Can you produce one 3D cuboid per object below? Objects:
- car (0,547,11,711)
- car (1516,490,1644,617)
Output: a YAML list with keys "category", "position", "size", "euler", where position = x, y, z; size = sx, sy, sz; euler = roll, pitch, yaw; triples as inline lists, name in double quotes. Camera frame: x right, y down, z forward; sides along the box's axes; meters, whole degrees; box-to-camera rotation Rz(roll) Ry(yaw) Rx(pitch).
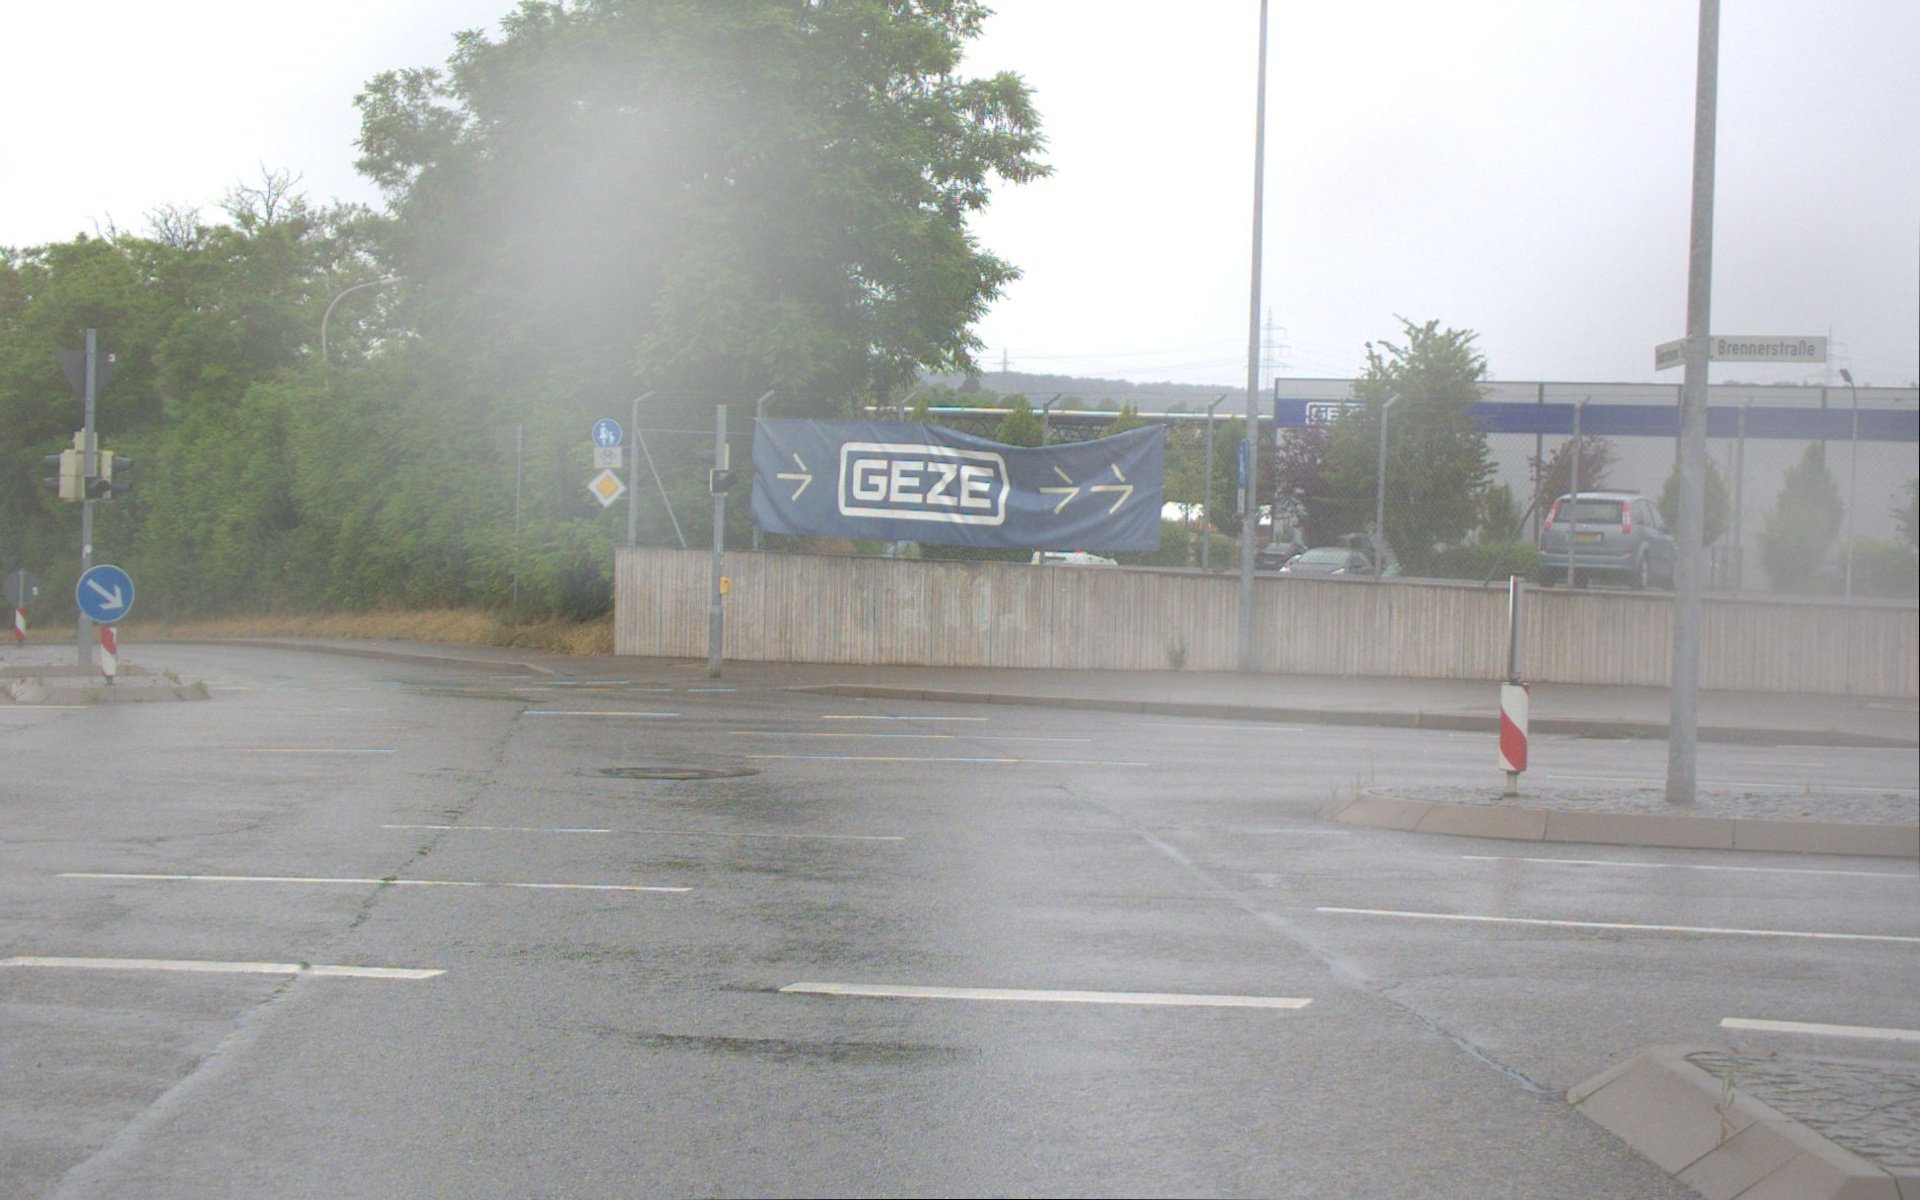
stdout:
- category: "car"
  position: [-11.406, 0.244, 32.943]
  size: [3.988, 1.590, 1.956]
  euler: [2, 1, 10]
- category: "car"
  position: [10.438, -0.788, 57.690]
  size: [1.994, 2.007, 3.998]
  euler: [1, 1, 11]
